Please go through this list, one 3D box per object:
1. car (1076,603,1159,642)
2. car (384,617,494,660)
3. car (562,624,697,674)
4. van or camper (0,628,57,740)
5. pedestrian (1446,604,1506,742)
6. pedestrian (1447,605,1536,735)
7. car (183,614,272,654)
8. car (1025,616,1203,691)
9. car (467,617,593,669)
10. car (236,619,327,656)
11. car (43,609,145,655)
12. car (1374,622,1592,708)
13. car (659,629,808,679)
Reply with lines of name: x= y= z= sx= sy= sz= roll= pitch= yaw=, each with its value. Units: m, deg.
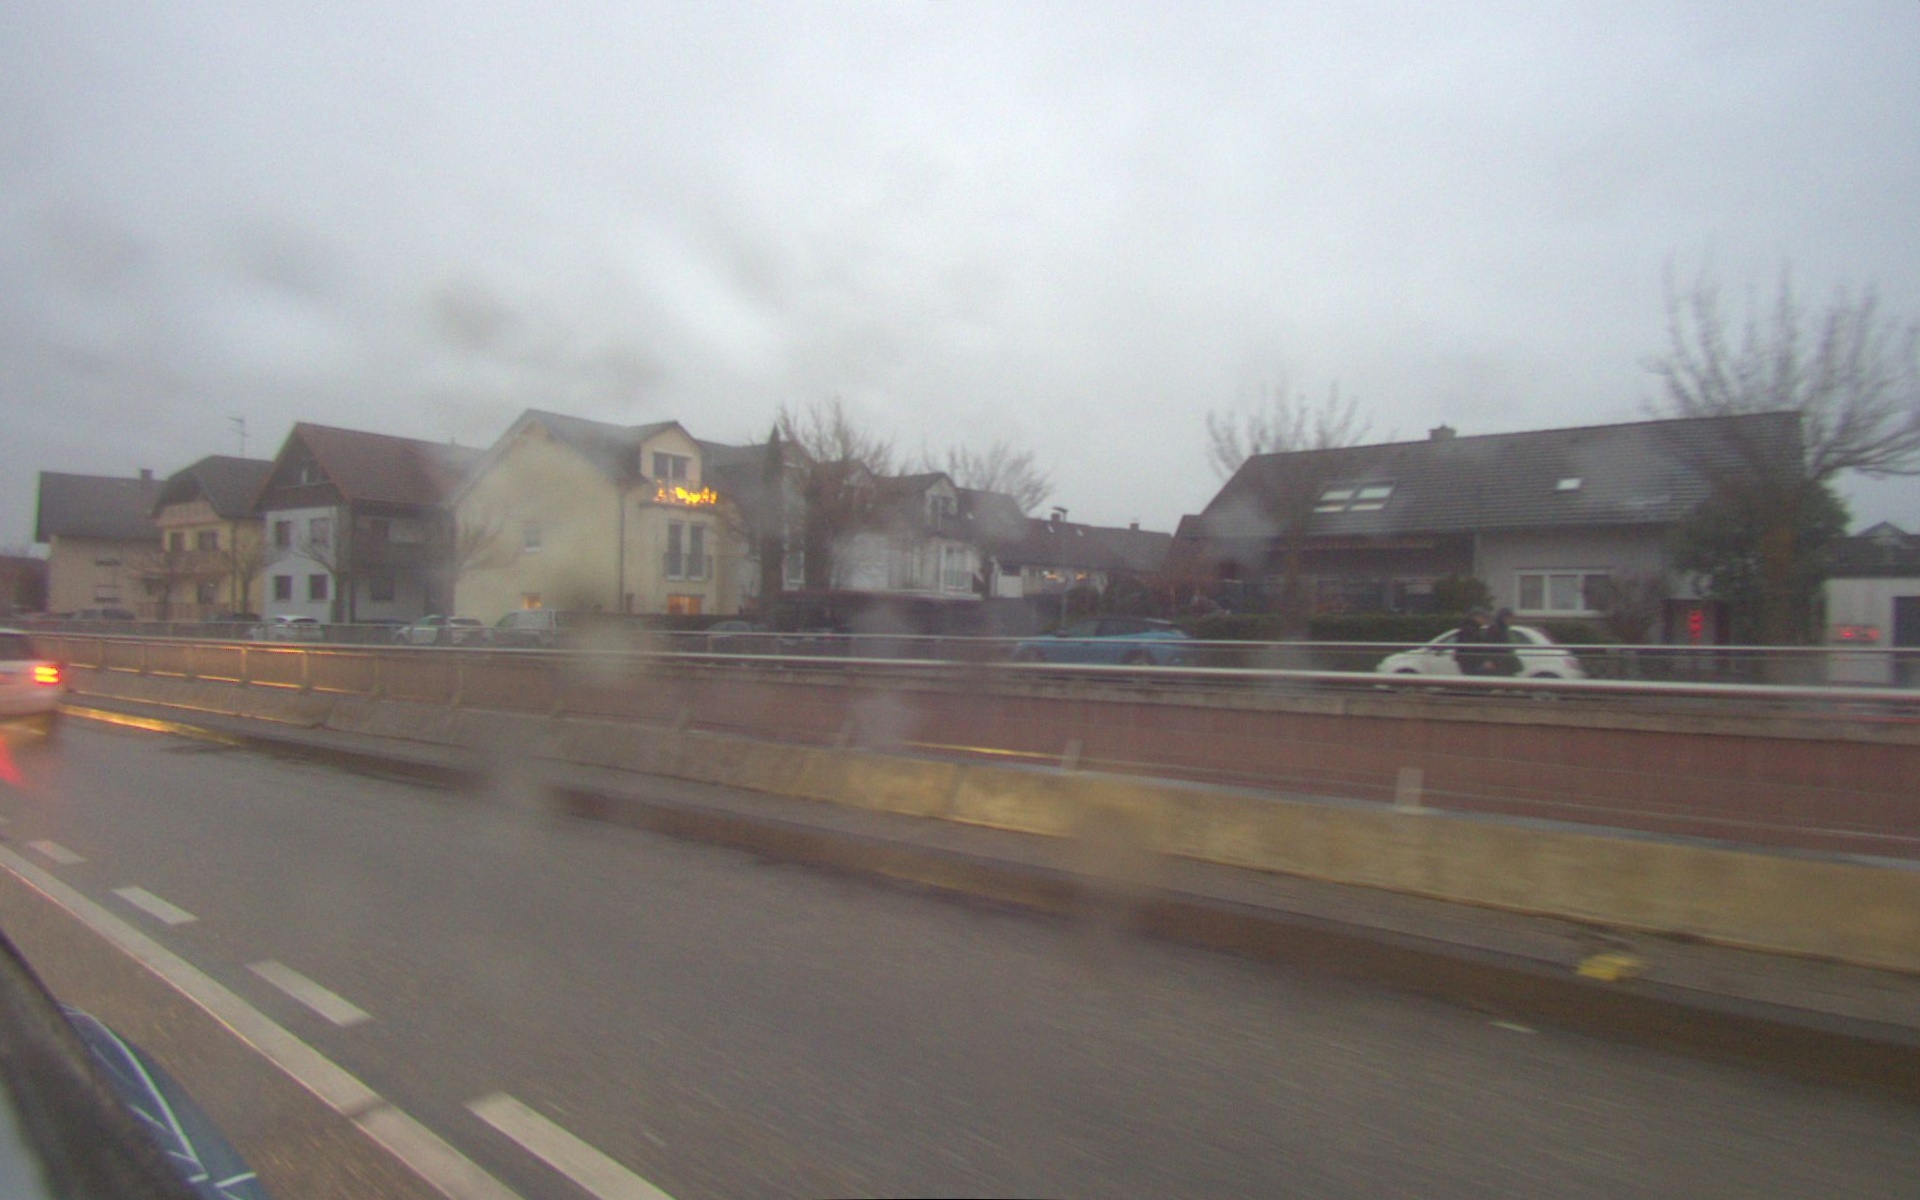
car: x=8.525 y=1.187 z=54.821 sx=3.985 sy=2.029 sz=1.979 roll=0 pitch=1 yaw=31
car: x=-20.385 y=1.516 z=39.552 sx=4.208 sy=1.611 sz=1.860 roll=-1 pitch=-3 yaw=31
car: x=-11.092 y=1.634 z=33.850 sx=4.487 sy=1.585 sz=1.859 roll=-1 pitch=-3 yaw=33
van or camper: x=-13.207 y=1.039 z=13.082 sx=3.414 sy=1.366 sz=1.548 roll=-1 pitch=-2 yaw=35
pedestrian: x=6.622 y=0.910 z=12.989 sx=0.541 sy=1.710 sz=0.657 roll=-1 pitch=-1 yaw=39
pedestrian: x=7.759 y=0.982 z=14.770 sx=0.972 sy=1.798 sz=0.919 roll=-1 pitch=-1 yaw=39
car: x=-34.119 y=1.545 z=47.106 sx=3.983 sy=1.694 sz=1.846 roll=0 pitch=1 yaw=29
car: x=3.573 y=1.219 z=23.692 sx=3.809 sy=1.592 sz=1.552 roll=0 pitch=-3 yaw=33
car: x=-15.522 y=1.554 z=36.512 sx=4.484 sy=1.792 sz=1.860 roll=-1 pitch=-3 yaw=31
car: x=-30.397 y=1.644 z=45.328 sx=4.014 sy=1.535 sz=1.757 roll=0 pitch=-1 yaw=29
car: x=-36.003 y=1.314 z=42.074 sx=3.839 sy=1.817 sz=1.790 roll=0 pitch=-1 yaw=26
car: x=9.783 y=1.146 z=19.031 sx=3.453 sy=1.438 sz=1.469 roll=0 pitch=-1 yaw=37
car: x=-6.977 y=1.629 z=31.053 sx=4.487 sy=1.444 sz=1.859 roll=-1 pitch=-3 yaw=33
